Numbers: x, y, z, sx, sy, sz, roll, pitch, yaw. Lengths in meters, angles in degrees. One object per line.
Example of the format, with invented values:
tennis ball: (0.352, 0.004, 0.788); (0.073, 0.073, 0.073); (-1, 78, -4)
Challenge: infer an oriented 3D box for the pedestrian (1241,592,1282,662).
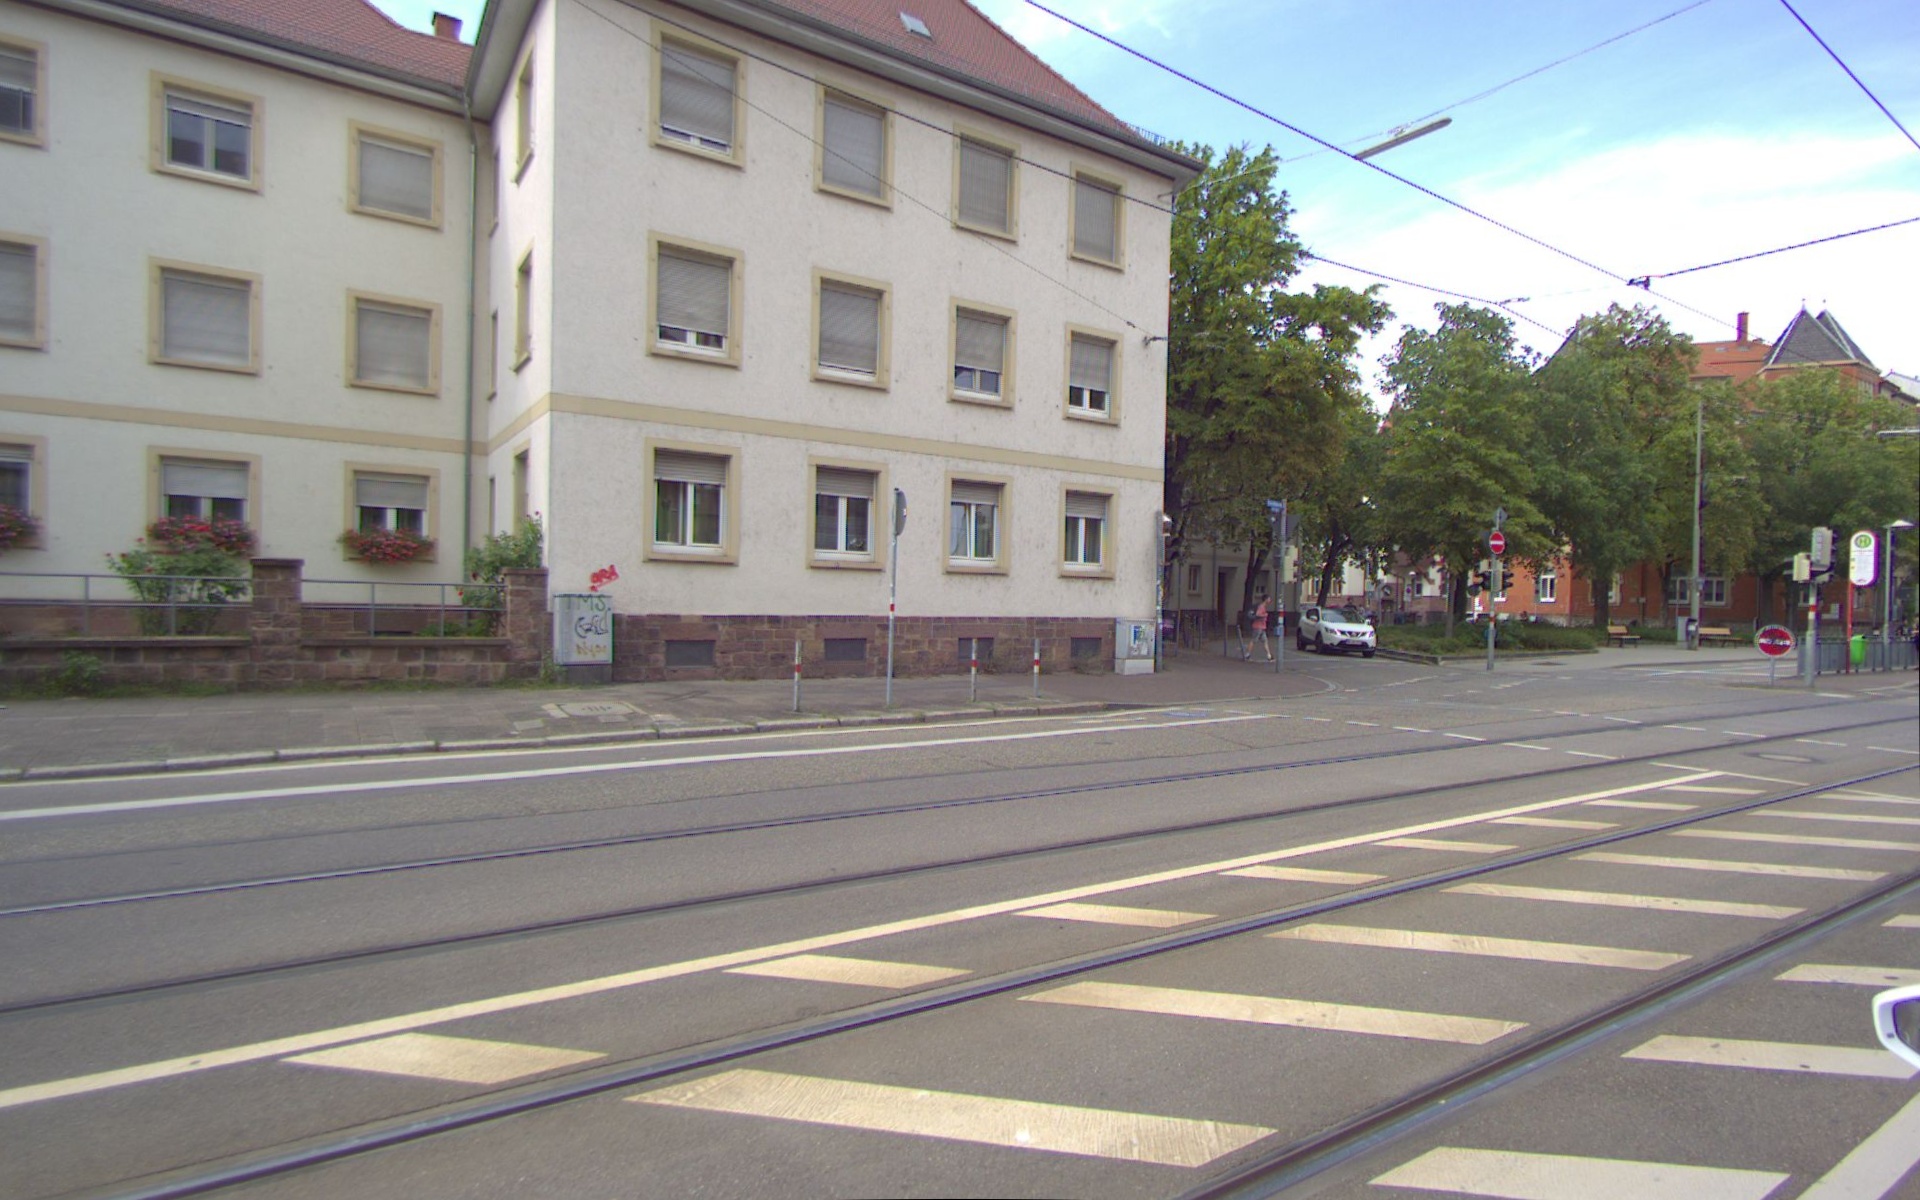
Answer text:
pedestrian: (8.449, 0.741, 28.189); (0.820, 1.926, 0.731); (1, 0, -10)

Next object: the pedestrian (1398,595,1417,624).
pedestrian: (27.806, 0.574, 62.443); (0.720, 1.777, 0.751); (1, 0, -15)

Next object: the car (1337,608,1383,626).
car: (33.516, 1.416, 84.301); (1.783, 1.414, 3.993); (1, 0, -10)

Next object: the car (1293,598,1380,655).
car: (12.846, 0.928, 34.490); (1.804, 1.743, 4.162); (2, -2, 7)

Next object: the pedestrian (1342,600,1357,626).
pedestrian: (26.401, 0.890, 68.069); (0.671, 1.777, 0.731); (1, 0, -12)

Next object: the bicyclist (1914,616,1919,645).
bicyclist: (45.722, 1.441, 47.516); (0.827, 1.357, 0.657); (1, 0, -33)

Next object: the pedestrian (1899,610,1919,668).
pedestrian: (28.065, 1.141, 29.308); (0.836, 1.642, 0.845); (1, 0, -38)

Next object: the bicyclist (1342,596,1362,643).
bicyclist: (15.273, 0.764, 39.134); (0.601, 1.799, 0.909); (1, 0, 29)

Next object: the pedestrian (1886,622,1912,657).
pedestrian: (46.705, 1.946, 49.949); (0.726, 1.726, 0.826); (1, 0, -38)

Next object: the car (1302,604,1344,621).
car: (32.417, 1.115, 89.718); (1.783, 1.414, 3.993); (1, 0, -10)

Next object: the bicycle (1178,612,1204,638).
bicycle: (9.534, 1.012, 41.472); (0.486, 1.022, 1.836); (1, 0, 31)
